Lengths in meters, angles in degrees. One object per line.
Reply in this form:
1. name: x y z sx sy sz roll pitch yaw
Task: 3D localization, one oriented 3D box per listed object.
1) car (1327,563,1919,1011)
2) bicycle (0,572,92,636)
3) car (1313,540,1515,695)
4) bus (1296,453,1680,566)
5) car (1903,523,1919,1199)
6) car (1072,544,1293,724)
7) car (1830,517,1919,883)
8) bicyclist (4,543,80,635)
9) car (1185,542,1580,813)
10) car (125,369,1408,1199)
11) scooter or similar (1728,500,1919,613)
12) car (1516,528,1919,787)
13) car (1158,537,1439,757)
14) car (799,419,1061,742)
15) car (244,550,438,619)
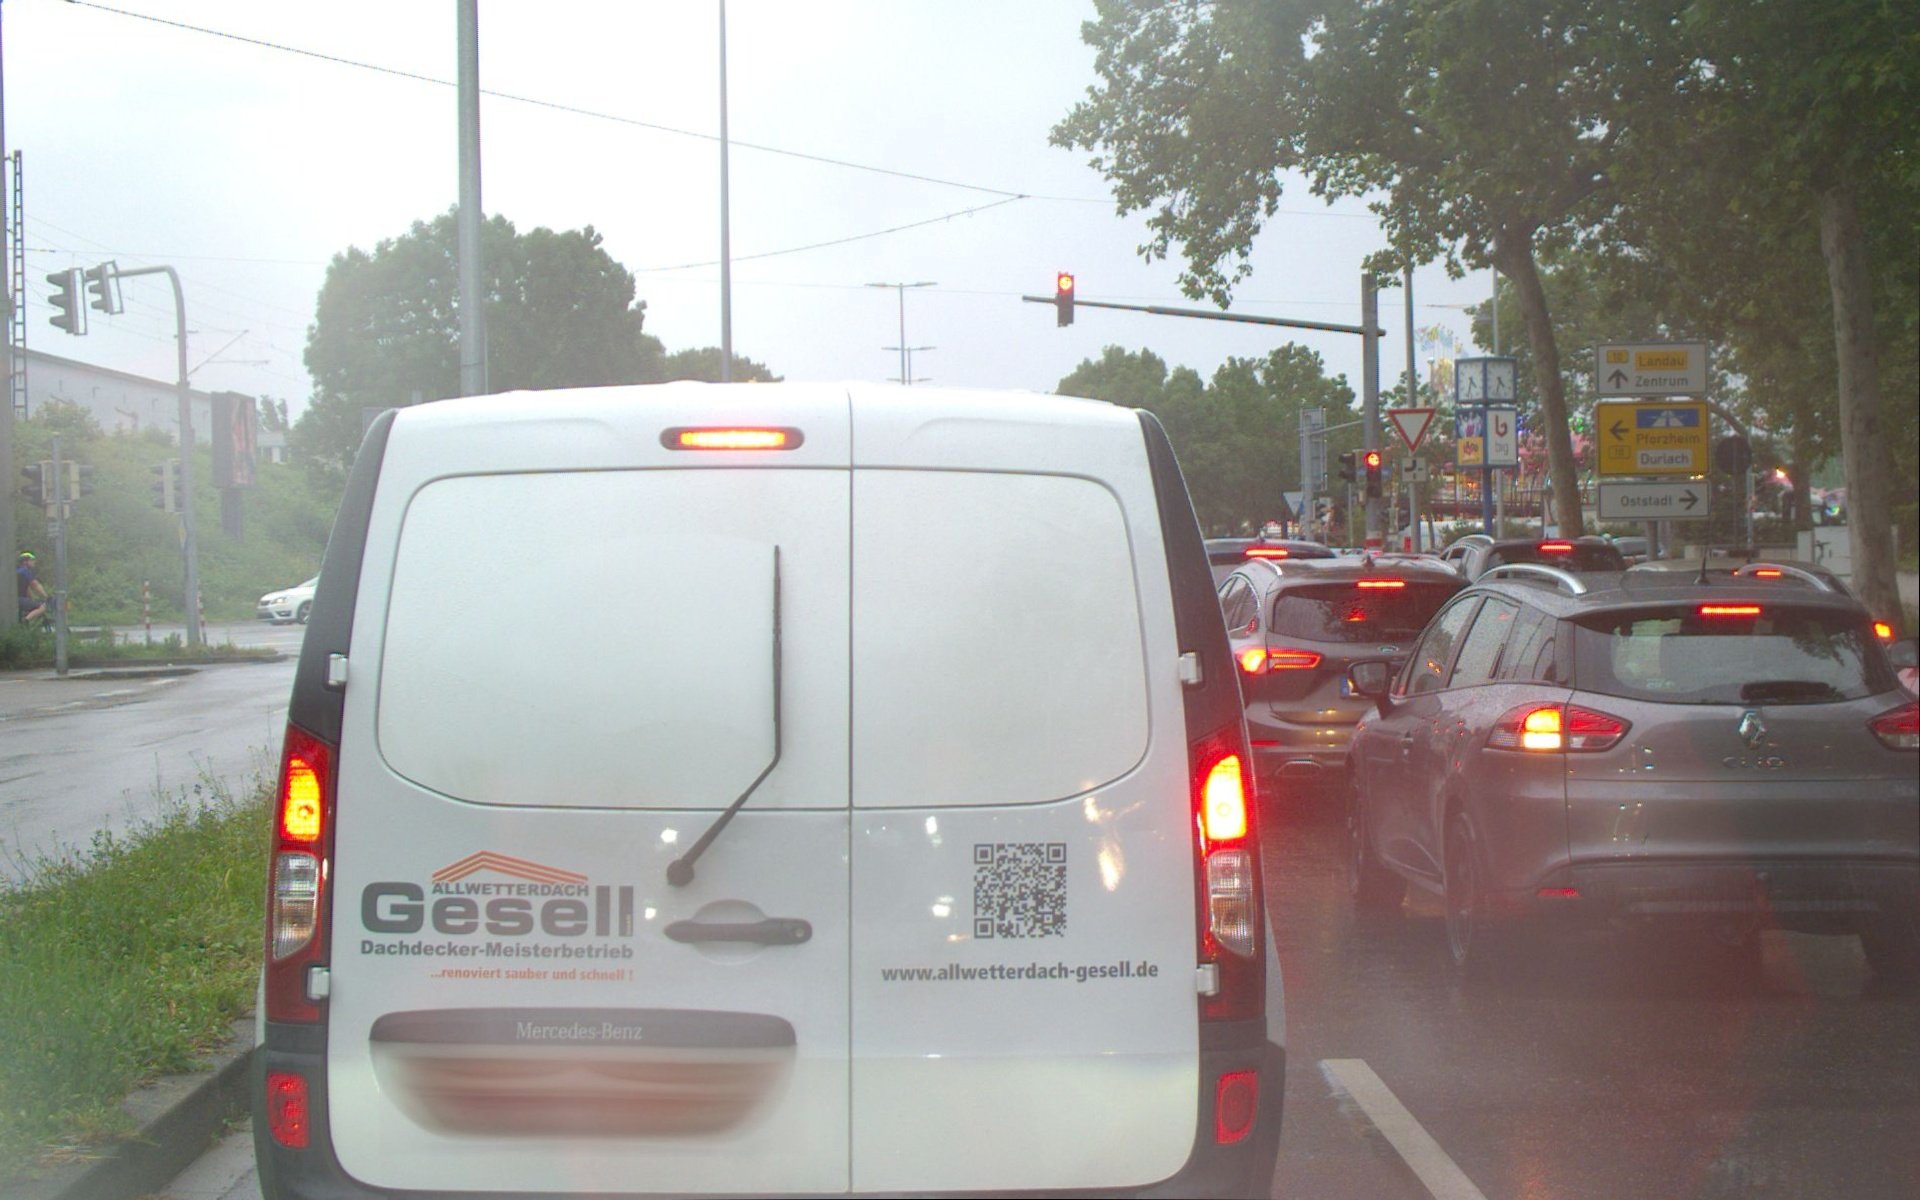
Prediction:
1. car: 2.500 0.590 13.118 1.683 1.403 3.843 1 1 -1
2. bicycle: -14.843 0.057 55.570 1.040 0.949 2.889 -2 2 -25
3. car: 5.050 0.165 38.638 1.708 1.644 3.843 0 1 -1
4. bus: 16.957 -2.920 110.880 11.970 3.411 2.315 -1 1 0
5. car: 2.970 0.647 5.414 1.747 1.549 4.091 0 1 -1
6. car: 2.109 0.295 33.528 1.854 1.644 3.843 0 1 -1
7. car: 5.299 0.476 15.278 1.710 1.688 4.272 1 0 -1
8. bicyclist: -14.799 -0.186 55.447 1.040 1.445 0.729 -2 2 -25
9. car: 2.426 0.389 20.637 1.854 1.455 3.843 0 1 -1
10. car: -0.323 0.479 7.656 1.993 1.770 4.585 0 1 -1
11. scooter or similar: 19.983 -0.986 77.066 1.890 2.437 5.316 -1 1 -41
12. car: 5.208 0.330 24.136 1.876 1.607 4.000 1 1 -1
13. car: 2.667 0.322 27.865 1.854 1.644 3.843 0 1 -1
14. car: -0.233 -0.179 26.353 1.854 2.288 3.843 0 1 -1
15. car: -15.186 -0.401 84.407 4.235 1.590 2.000 -2 1 -35
